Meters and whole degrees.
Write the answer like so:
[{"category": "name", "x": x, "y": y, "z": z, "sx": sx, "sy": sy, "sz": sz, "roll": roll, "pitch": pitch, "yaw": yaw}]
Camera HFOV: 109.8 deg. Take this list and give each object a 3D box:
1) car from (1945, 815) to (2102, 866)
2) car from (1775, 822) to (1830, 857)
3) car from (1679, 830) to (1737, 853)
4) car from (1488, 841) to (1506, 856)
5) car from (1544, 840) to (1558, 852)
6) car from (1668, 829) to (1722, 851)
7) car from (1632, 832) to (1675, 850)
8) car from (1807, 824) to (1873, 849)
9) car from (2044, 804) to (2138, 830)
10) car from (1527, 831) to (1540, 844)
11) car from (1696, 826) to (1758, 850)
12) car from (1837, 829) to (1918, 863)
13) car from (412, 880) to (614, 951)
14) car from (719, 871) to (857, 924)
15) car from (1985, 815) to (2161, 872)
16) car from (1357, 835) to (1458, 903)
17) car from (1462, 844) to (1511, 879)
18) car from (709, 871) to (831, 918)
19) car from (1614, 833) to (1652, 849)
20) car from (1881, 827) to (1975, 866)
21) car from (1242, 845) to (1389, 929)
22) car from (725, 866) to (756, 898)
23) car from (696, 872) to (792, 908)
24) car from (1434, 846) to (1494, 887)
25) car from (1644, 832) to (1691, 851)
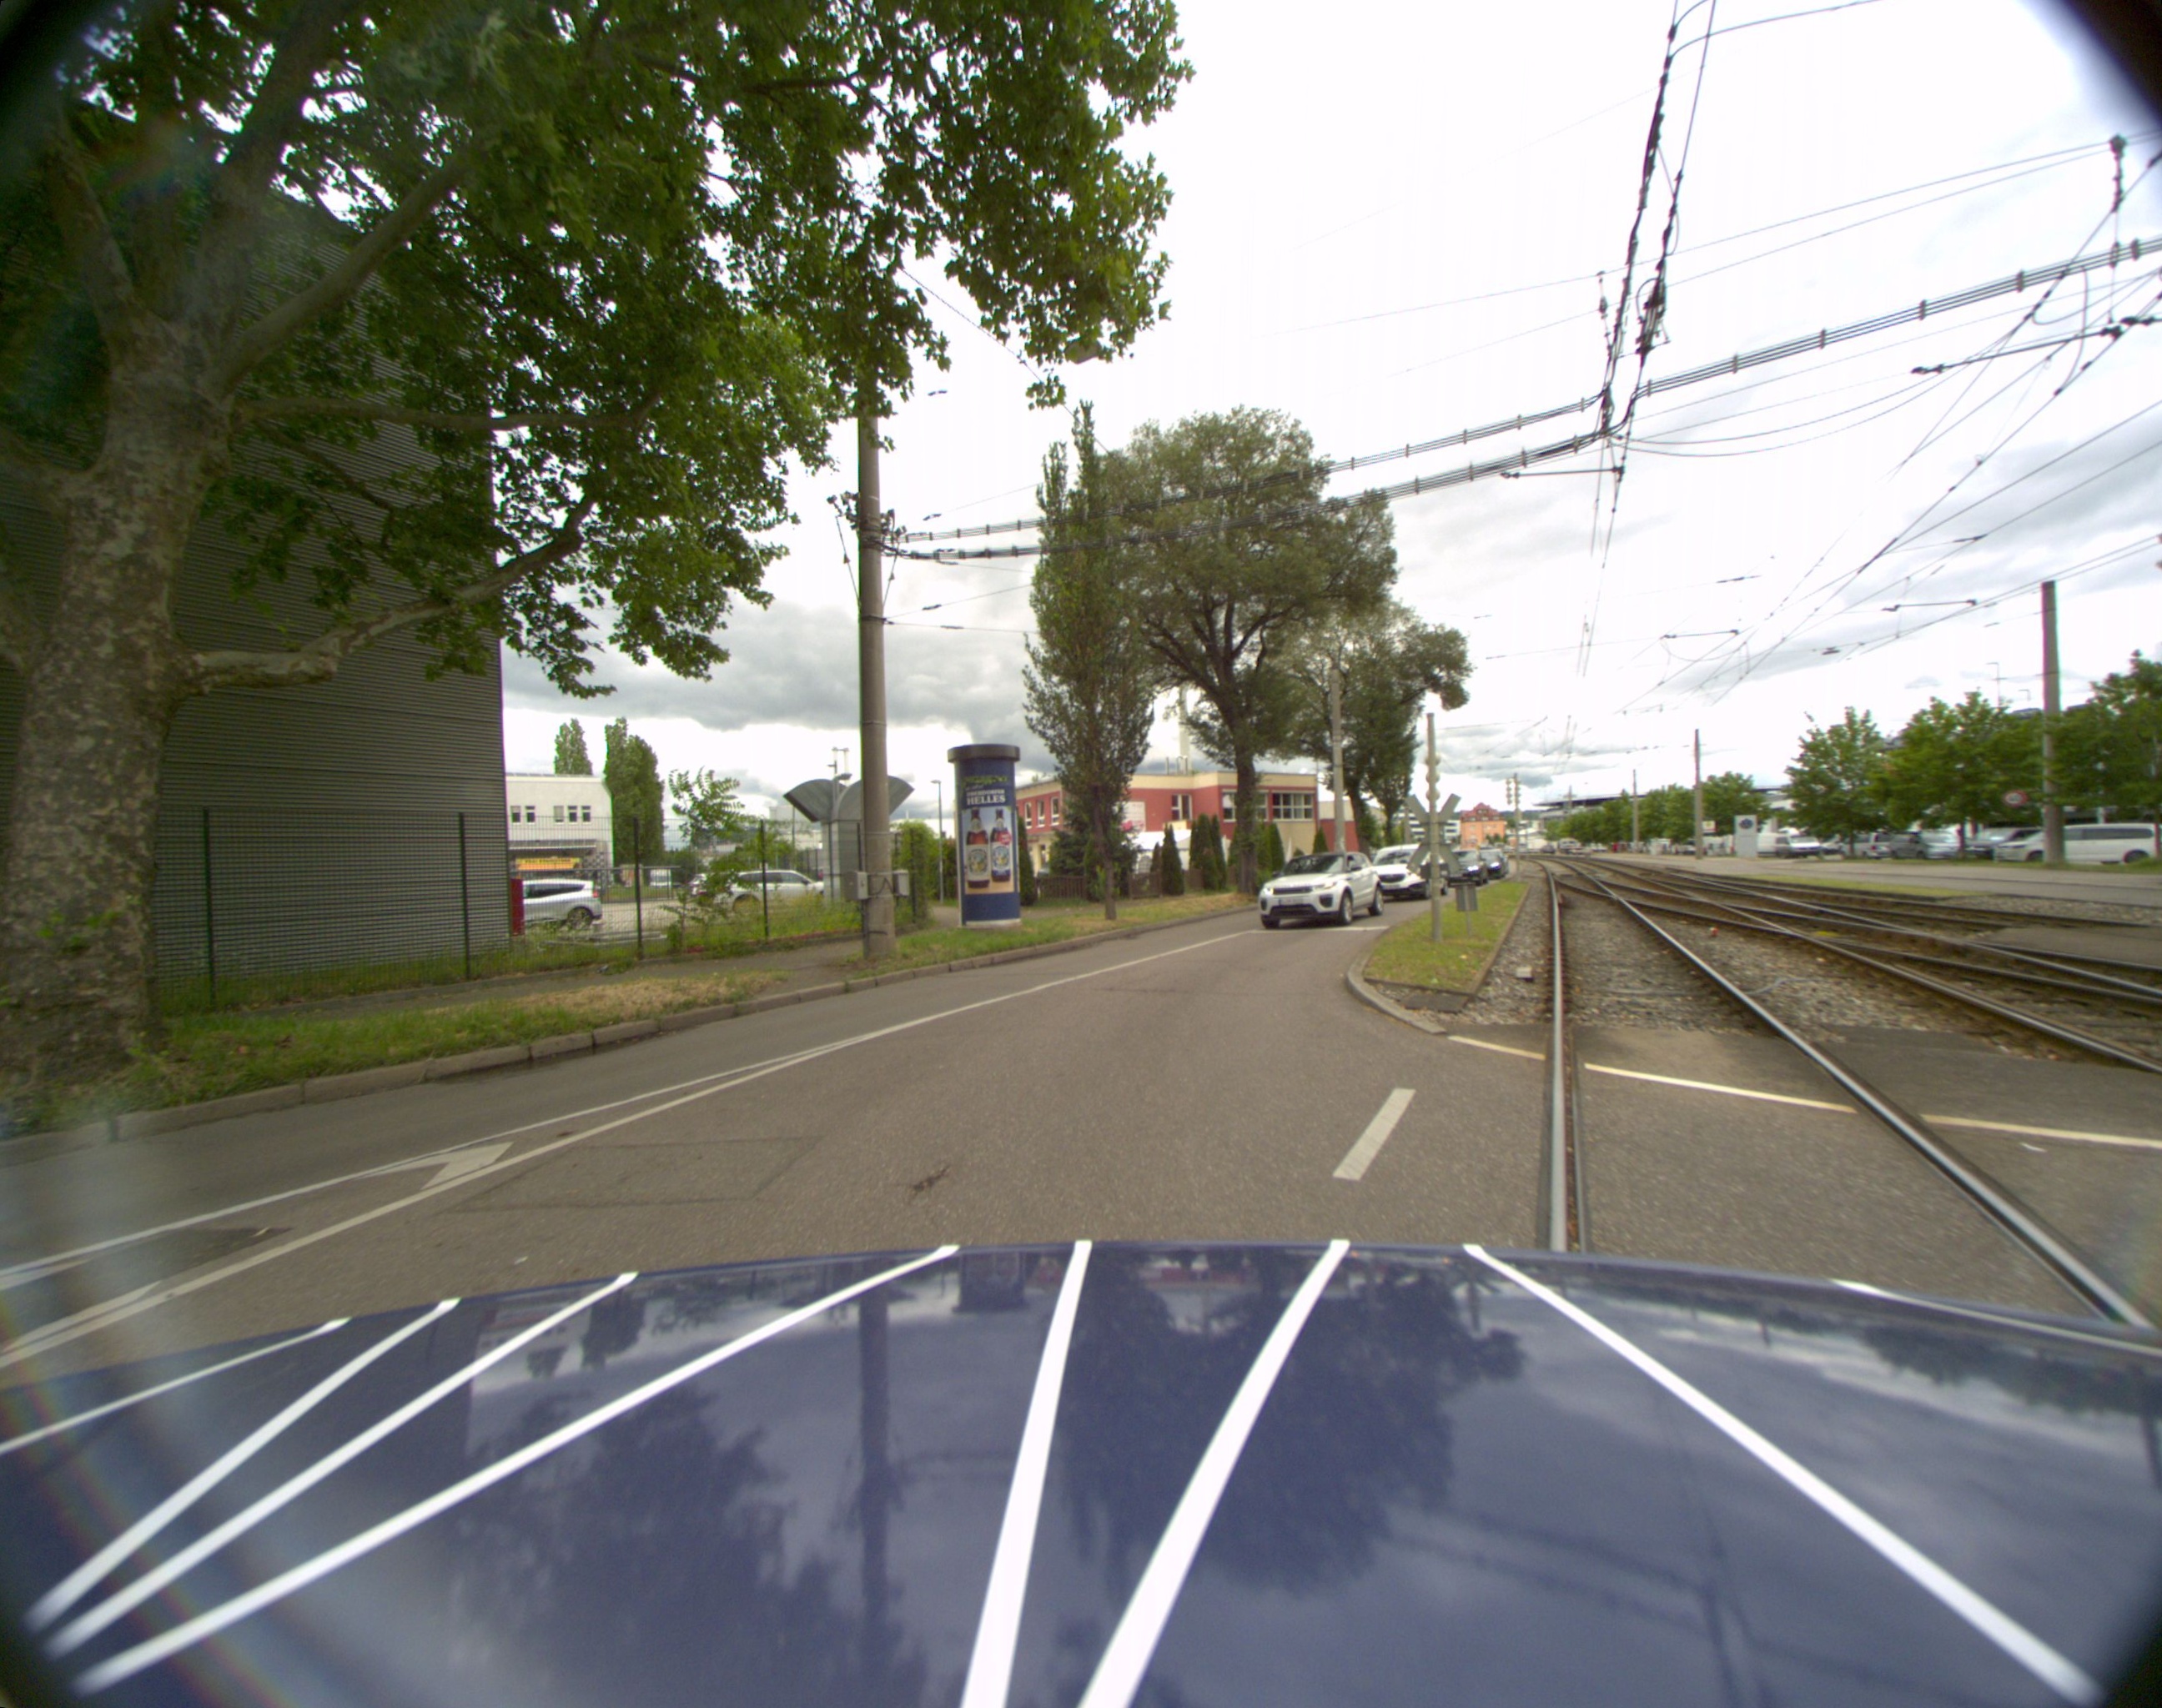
[{"category": "car", "x": 50.373, "y": -0.696, "z": 40.773, "sx": 4.765, "sy": 2.253, "sz": 1.984, "roll": -6, "pitch": -2, "yaw": 30}, {"category": "car", "x": 66.894, "y": -1.360, "z": 70.562, "sx": 2.316, "sy": 2.993, "sz": 6.170, "roll": -6, "pitch": -2, "yaw": 33}, {"category": "car", "x": 72.519, "y": -1.415, "z": 87.924, "sx": 4.630, "sy": 2.195, "sz": 2.112, "roll": -6, "pitch": -1, "yaw": 25}, {"category": "car", "x": 52.376, "y": -0.682, "z": 95.655, "sx": 1.866, "sy": 1.739, "sz": 4.007, "roll": -6, "pitch": -2, "yaw": 28}, {"category": "car", "x": 79.731, "y": -1.335, "z": 128.898, "sx": 1.902, "sy": 1.708, "sz": 4.143, "roll": -5, "pitch": 0, "yaw": 31}, {"category": "car", "x": 74.820, "y": -1.732, "z": 92.664, "sx": 4.630, "sy": 2.195, "sz": 2.112, "roll": -6, "pitch": -1, "yaw": 25}, {"category": "car", "x": 85.983, "y": -1.923, "z": 114.199, "sx": 4.630, "sy": 2.195, "sz": 2.112, "roll": -6, "pitch": -1, "yaw": 25}, {"category": "car", "x": 83.066, "y": -1.882, "z": 83.260, "sx": 4.629, "sy": 2.195, "sz": 2.113, "roll": -6, "pitch": -2, "yaw": 32}, {"category": "car", "x": 96.742, "y": -3.540, "z": 72.858, "sx": 1.983, "sy": 1.825, "sz": 5.217, "roll": -4, "pitch": -2, "yaw": -36}, {"category": "car", "x": 107.395, "y": -3.884, "z": 180.215, "sx": 2.406, "sy": 2.930, "sz": 4.757, "roll": -6, "pitch": -2, "yaw": 30}, {"category": "car", "x": 70.594, "y": -1.746, "z": 83.083, "sx": 4.630, "sy": 2.195, "sz": 2.112, "roll": -6, "pitch": -1, "yaw": 25}, {"category": "car", "x": 55.004, "y": -0.555, "z": 52.616, "sx": 2.138, "sy": 2.103, "sz": 4.784, "roll": -6, "pitch": -2, "yaw": 25}, {"category": "car", "x": -16.750, "y": 1.769, "z": 22.639, "sx": 1.995, "sy": 1.639, "sz": 4.278, "roll": -6, "pitch": -2, "yaw": 30}, {"category": "car", "x": -10.926, "y": 1.568, "z": 28.440, "sx": 4.508, "sy": 1.655, "sz": 1.996, "roll": -2, "pitch": 0, "yaw": -30}, {"category": "car", "x": 48.900, "y": -0.479, "z": 37.336, "sx": 5.260, "sy": 2.253, "sz": 2.004, "roll": -6, "pitch": -2, "yaw": 30}, {"category": "car", "x": 11.080, "y": 0.471, "z": 25.563, "sx": 1.995, "sy": 1.989, "sz": 5.045, "roll": -5, "pitch": -3, "yaw": 35}, {"category": "car", "x": 21.483, "y": 0.367, "z": 40.141, "sx": 1.995, "sy": 1.546, "sz": 4.569, "roll": -4, "pitch": -1, "yaw": 31}, {"category": "car", "x": -13.169, "y": 1.656, "z": 32.265, "sx": 4.508, "sy": 1.655, "sz": 1.996, "roll": -2, "pitch": 0, "yaw": -30}, {"category": "car", "x": 91.235, "y": -2.060, "z": 125.548, "sx": 4.630, "sy": 2.195, "sz": 2.112, "roll": -6, "pitch": -1, "yaw": 25}, {"category": "car", "x": 52.198, "y": -0.487, "z": 46.972, "sx": 2.138, "sy": 2.103, "sz": 4.784, "roll": -6, "pitch": -2, "yaw": 26}, {"category": "car", "x": 5.601, "y": 0.698, "z": 17.767, "sx": 1.995, "sy": 1.680, "sz": 4.277, "roll": -3, "pitch": -1, "yaw": 35}, {"category": "car", "x": -35.018, "y": 2.906, "z": 78.100, "sx": 1.977, "sy": 2.944, "sz": 5.578, "roll": -4, "pitch": -2, "yaw": -32}, {"category": "car", "x": -18.063, "y": 1.891, "z": 40.761, "sx": 4.508, "sy": 1.655, "sz": 1.996, "roll": -2, "pitch": 0, "yaw": -30}, {"category": "car", "x": 17.018, "y": 0.521, "z": 33.648, "sx": 1.995, "sy": 1.546, "sz": 4.569, "roll": -4, "pitch": -1, "yaw": 31}, {"category": "car", "x": 81.201, "y": -1.758, "z": 105.333, "sx": 4.630, "sy": 2.195, "sz": 2.112, "roll": -6, "pitch": -1, "yaw": 25}]
